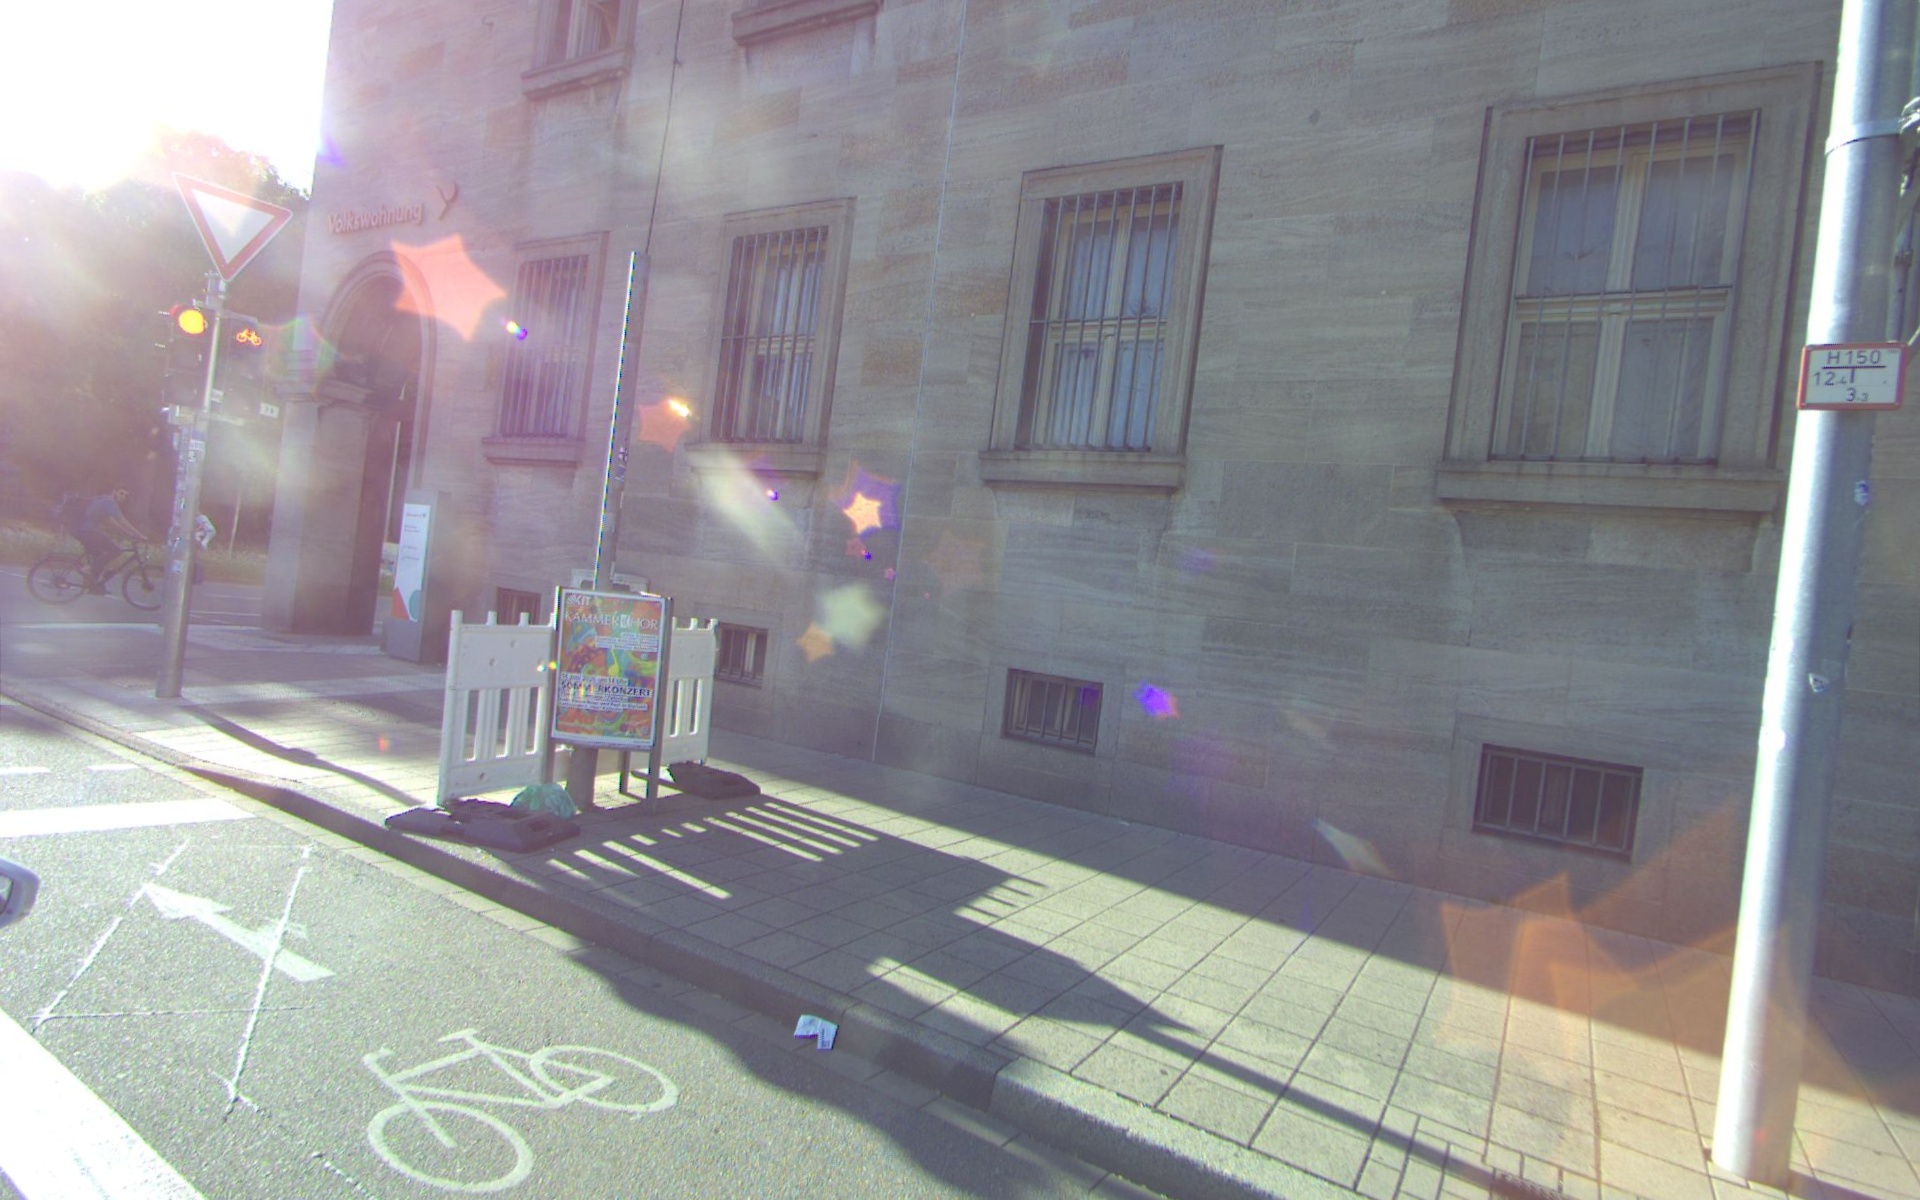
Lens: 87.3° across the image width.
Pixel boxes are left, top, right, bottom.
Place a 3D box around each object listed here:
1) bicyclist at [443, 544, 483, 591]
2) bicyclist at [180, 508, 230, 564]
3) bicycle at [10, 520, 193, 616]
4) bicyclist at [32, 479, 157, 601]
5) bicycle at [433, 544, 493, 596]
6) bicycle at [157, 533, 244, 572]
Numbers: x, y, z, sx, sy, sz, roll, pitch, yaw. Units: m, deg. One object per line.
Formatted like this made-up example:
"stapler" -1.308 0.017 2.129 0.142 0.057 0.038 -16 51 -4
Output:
"bicyclist" -19.180 -1.236 38.812 0.587 1.661 1.075 7 0 35
"bicyclist" -23.750 -2.004 31.649 0.565 1.579 0.976 7 0 30
"bicycle" -12.923 -0.452 15.202 0.754 1.172 1.875 9 1 32
"bicyclist" -12.939 -0.881 15.060 0.754 1.614 1.125 9 1 33
"bicycle" -19.171 -1.151 38.847 0.587 1.756 1.898 7 0 35
"bicycle" -23.855 -1.492 31.631 0.565 0.944 2.068 7 -1 30
